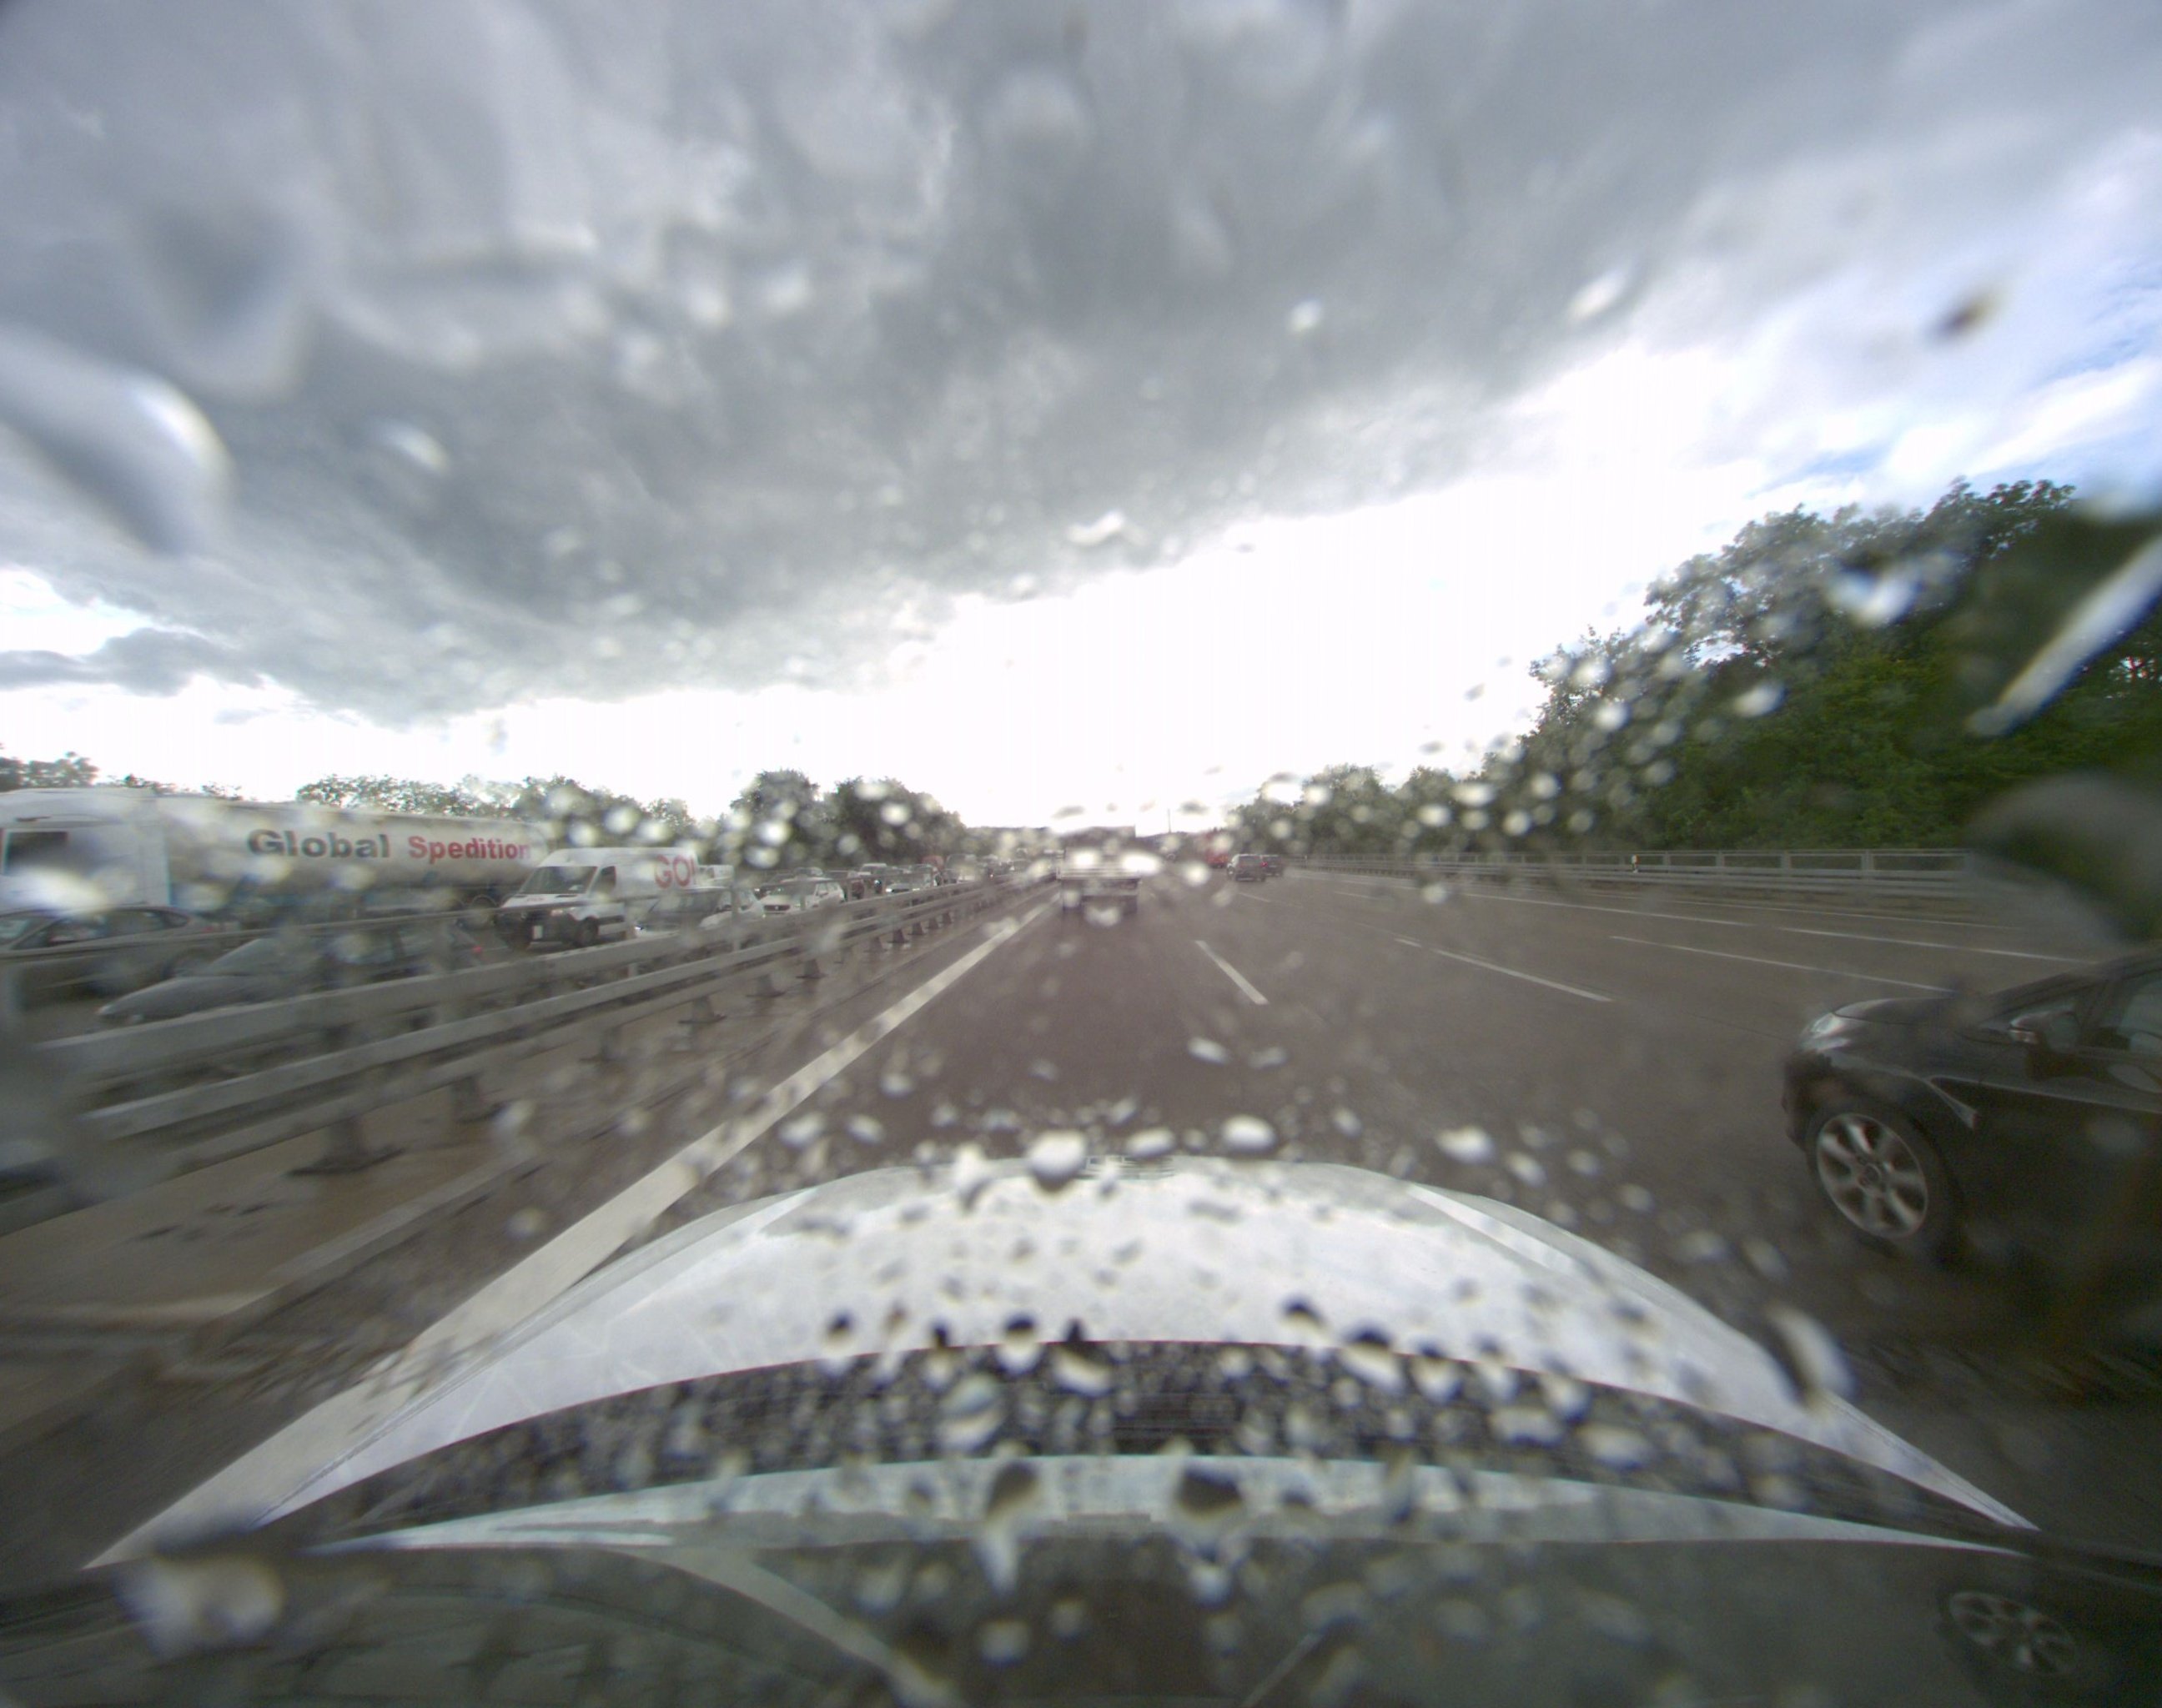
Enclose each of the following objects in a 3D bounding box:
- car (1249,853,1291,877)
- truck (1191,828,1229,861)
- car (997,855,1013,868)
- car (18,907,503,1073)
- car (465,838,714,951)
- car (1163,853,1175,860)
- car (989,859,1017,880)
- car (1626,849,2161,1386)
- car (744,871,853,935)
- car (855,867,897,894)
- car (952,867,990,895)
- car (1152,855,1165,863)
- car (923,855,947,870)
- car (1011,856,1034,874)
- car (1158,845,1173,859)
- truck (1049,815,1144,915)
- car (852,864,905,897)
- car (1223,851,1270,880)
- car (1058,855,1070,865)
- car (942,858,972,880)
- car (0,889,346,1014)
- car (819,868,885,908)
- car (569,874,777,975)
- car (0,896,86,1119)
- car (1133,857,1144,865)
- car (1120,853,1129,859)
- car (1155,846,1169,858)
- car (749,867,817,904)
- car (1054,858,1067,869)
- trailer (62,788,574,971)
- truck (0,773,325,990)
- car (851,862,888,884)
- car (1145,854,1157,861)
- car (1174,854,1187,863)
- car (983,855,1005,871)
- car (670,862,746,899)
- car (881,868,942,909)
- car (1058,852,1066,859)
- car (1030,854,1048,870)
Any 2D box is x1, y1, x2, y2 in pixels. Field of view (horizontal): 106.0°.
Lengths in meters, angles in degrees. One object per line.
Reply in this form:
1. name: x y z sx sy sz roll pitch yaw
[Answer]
1. car: 13.348 0.759 57.838 1.877 1.561 4.431 -2 0 -1
2. truck: 14.967 -1.157 95.490 3.139 3.601 12.710 0 1 3
3. car: -11.687 1.145 125.849 1.887 1.800 4.598 -2 0 2
4. car: -9.518 1.464 10.073 1.616 1.297 4.251 -2 0 1
5. car: -13.441 0.971 23.222 2.119 2.636 7.614 -2 0 3
6. car: 19.298 0.551 178.824 1.962 1.561 4.430 -2 0 -1
7. car: -6.991 1.363 73.283 1.887 1.800 4.598 -2 0 2
8. car: 3.721 0.687 2.236 1.710 1.417 4.281 -2 -1 3
9. car: -9.165 1.529 26.864 1.887 1.800 4.596 -2 0 1
10. car: -15.668 2.001 62.510 1.887 1.800 4.598 -2 0 2
11. car: -7.827 1.920 58.301 1.887 1.800 4.598 -2 0 2
12. car: 14.827 0.962 155.274 1.962 1.561 4.430 -2 0 -1
13. car: -17.744 1.027 99.162 1.887 1.800 4.598 -2 0 2
14. car: -6.205 1.187 86.372 1.887 1.800 4.598 -2 0 2
15. car: 12.282 -0.340 118.733 1.986 2.013 4.002 0 1 2
16. truck: 0.512 0.200 23.673 2.298 2.439 7.153 -1 1 2
17. car: -12.320 1.573 49.819 1.887 1.800 4.598 -2 0 2
18. car: 9.516 0.630 47.111 1.875 1.542 4.435 -2 0 2
19. car: -3.247 1.104 155.785 1.887 1.800 4.598 -2 0 2
20. car: -11.210 1.348 73.948 1.887 1.800 4.598 -2 0 2
21. car: -17.185 1.703 15.634 1.887 1.800 4.596 -2 0 1
22. car: -11.712 1.681 41.924 1.887 1.800 4.598 -2 0 2
23. car: -9.096 1.453 18.856 1.887 1.800 5.571 -2 0 1
24. car: -9.880 1.302 4.340 1.887 1.800 5.842 -2 0 1
25. car: 11.957 1.358 169.240 1.962 1.561 4.430 -2 0 -1
26. car: 12.515 0.620 234.336 1.962 1.561 4.431 -2 0 -1
27. car: 13.582 -0.356 136.964 1.986 2.013 4.002 0 1 2
28. car: -16.262 1.683 44.717 1.887 1.800 4.598 -2 0 2
29. car: -3.506 1.549 138.051 1.887 1.800 4.598 -2 0 2
30. trailer: -21.292 0.573 24.925 2.997 4.032 13.142 -2 0 1
31. truck: -21.504 0.557 18.112 3.012 4.052 6.537 -2 0 2
32. car: -19.008 1.692 73.390 1.887 1.800 4.598 -2 0 2
33. car: 15.090 0.736 176.642 1.963 1.561 4.429 -2 0 -2
34. car: 19.111 0.813 156.449 1.962 1.561 4.430 -2 0 -1
35. car: -10.216 1.062 96.087 1.887 1.800 4.598 -2 0 2
36. car: -20.525 1.418 45.024 1.887 1.800 4.598 -2 0 2
37. car: -8.461 1.680 41.012 1.887 1.800 4.598 -2 0 2
38. car: -5.198 0.391 223.775 1.887 1.800 4.598 -2 0 2
39. car: -5.260 0.984 102.368 1.887 1.800 4.598 -2 0 2
